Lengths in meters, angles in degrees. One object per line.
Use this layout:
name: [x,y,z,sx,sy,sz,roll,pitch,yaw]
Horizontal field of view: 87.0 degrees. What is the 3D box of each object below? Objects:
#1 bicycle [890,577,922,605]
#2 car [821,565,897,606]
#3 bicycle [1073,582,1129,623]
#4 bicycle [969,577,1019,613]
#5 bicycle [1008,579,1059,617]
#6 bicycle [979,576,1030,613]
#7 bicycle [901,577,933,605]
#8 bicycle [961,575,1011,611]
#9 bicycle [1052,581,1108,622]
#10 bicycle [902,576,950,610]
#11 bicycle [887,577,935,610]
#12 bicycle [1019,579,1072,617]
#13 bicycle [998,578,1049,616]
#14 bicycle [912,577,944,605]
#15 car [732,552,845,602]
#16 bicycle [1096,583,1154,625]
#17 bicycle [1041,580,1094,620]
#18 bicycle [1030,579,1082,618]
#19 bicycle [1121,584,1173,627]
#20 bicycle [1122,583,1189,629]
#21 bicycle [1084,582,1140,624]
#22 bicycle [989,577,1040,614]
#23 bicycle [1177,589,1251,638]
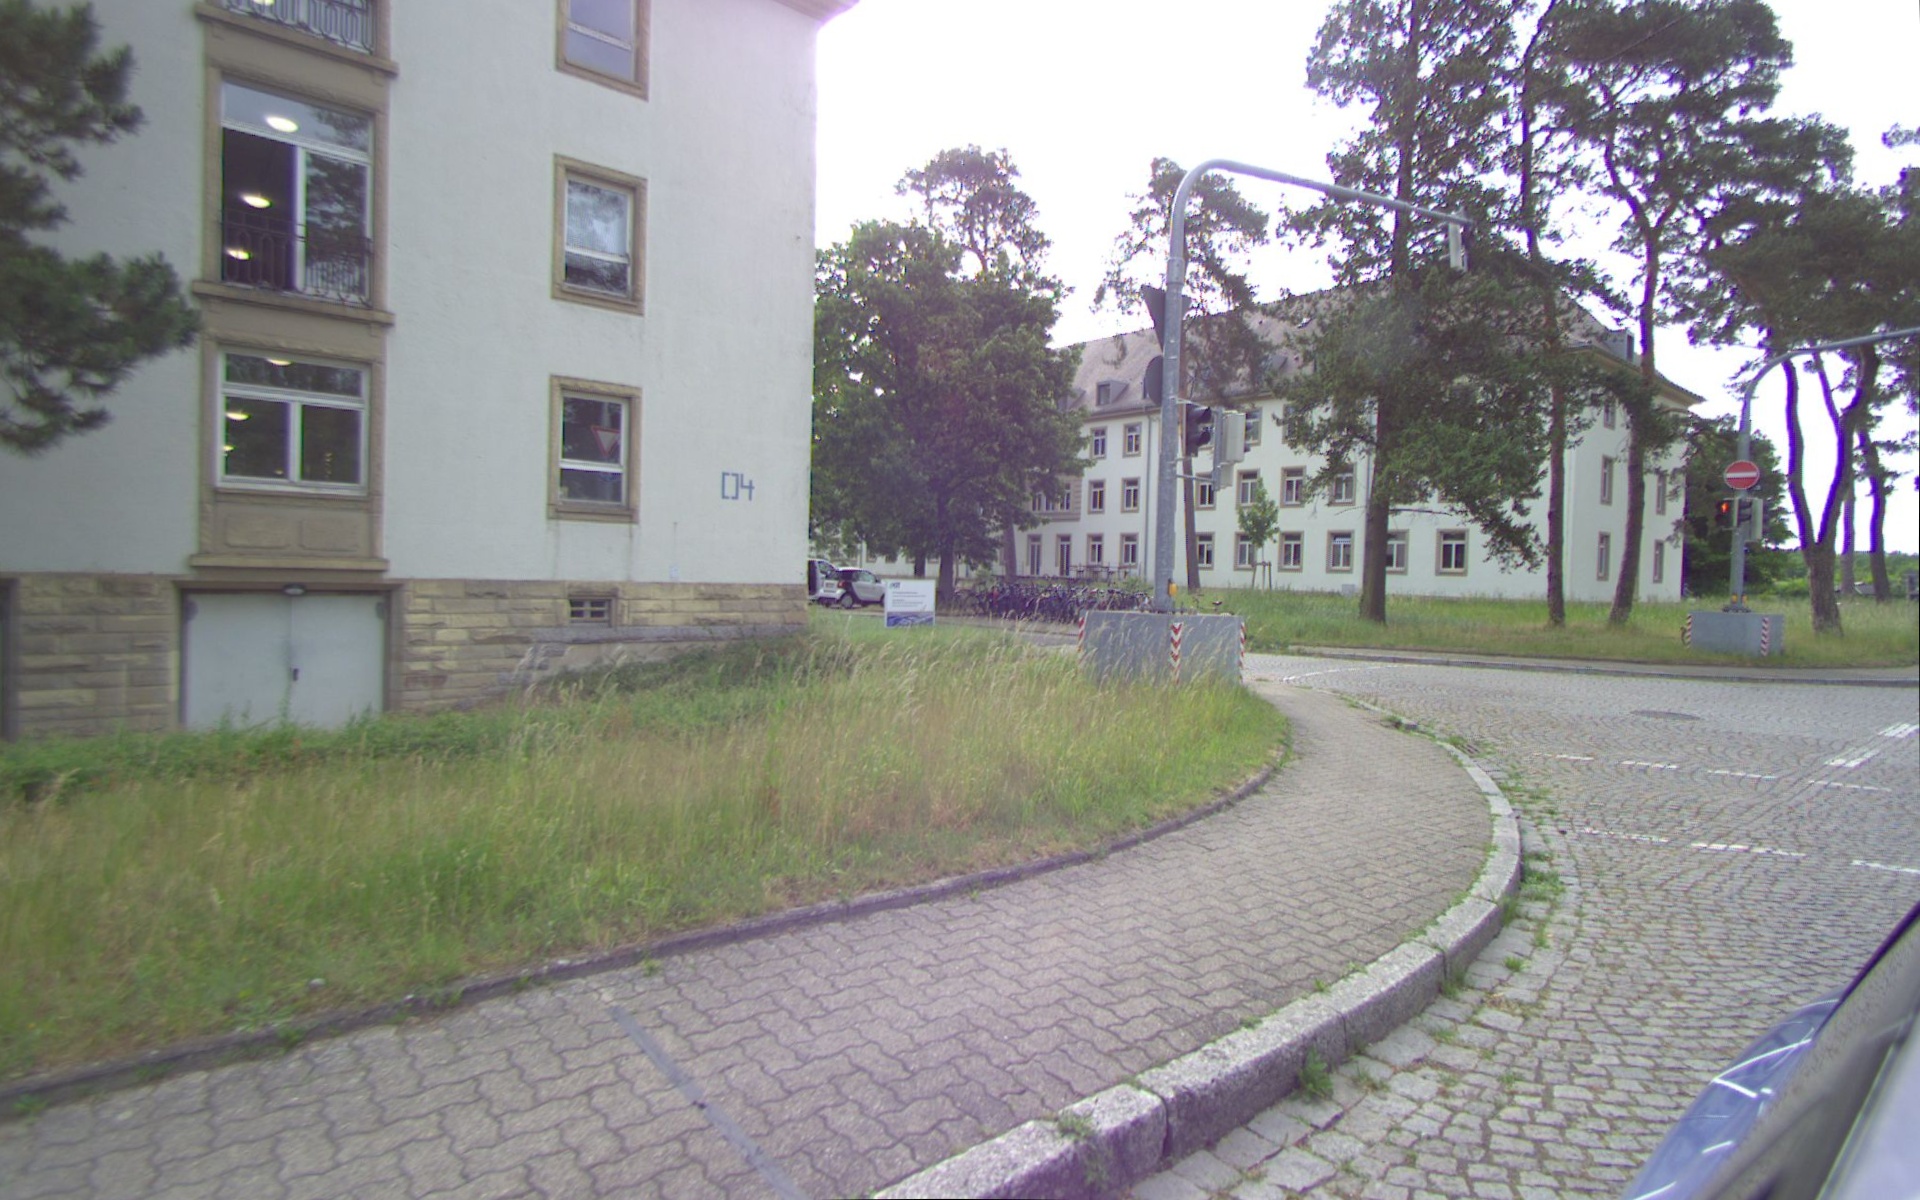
bicycle: [-2.306,-0.386,43.118,0.475,1.141,1.580,2,2,35]
car: [-3.920,-0.560,39.300,2.614,1.488,1.344,0,2,-41]
bicycle: [4.061,0.081,29.098,1.697,1.141,0.448,1,1,-32]
bicycle: [1.124,-0.172,32.901,1.699,1.141,0.448,0,1,-37]
bicycle: [2.286,-0.063,31.356,1.699,1.141,0.448,0,1,-37]
bicycle: [1.433,-0.169,32.506,1.699,1.141,0.448,0,1,-37]
bicycle: [-1.824,-0.381,42.792,0.475,1.141,1.580,2,2,35]
bicycle: [0.851,-0.217,33.242,1.699,1.141,0.448,0,1,-37]
bicycle: [3.524,0.048,29.680,1.697,1.141,0.448,1,1,-32]
bicycle: [-1.178,-0.224,34.962,1.699,1.141,0.448,0,1,-37]
bicycle: [-1.716,-0.226,35.300,1.699,1.141,0.448,0,1,-37]
bicycle: [2.623,-0.059,30.934,1.699,1.141,0.448,0,1,-37]
bicycle: [2.008,-0.094,31.757,1.699,1.141,0.448,0,1,-37]
bicycle: [-1.343,-0.383,42.444,0.475,1.141,1.580,2,2,35]
car: [-6.908,-0.915,41.160,2.001,1.902,4.327,2,2,37]
bicycle: [4.608,0.116,28.290,1.669,1.141,0.477,1,1,-32]
bicycle: [3.211,-0.002,30.134,1.698,1.141,0.448,0,1,-37]
bicycle: [2.905,-0.033,30.542,1.699,1.141,0.448,0,1,-37]
bicycle: [5.176,0.155,27.956,1.628,1.141,0.476,0,2,-41]
bicycle: [4.945,0.144,25.699,0.603,1.099,1.656,1,2,-37]
bicycle: [4.314,0.086,28.687,1.668,1.141,0.448,1,1,-32]
bicycle: [1.730,-0.138,32.150,1.699,1.141,0.448,0,1,-37]
bicycle: [6.124,0.303,24.477,0.604,1.099,1.654,0,2,-43]
